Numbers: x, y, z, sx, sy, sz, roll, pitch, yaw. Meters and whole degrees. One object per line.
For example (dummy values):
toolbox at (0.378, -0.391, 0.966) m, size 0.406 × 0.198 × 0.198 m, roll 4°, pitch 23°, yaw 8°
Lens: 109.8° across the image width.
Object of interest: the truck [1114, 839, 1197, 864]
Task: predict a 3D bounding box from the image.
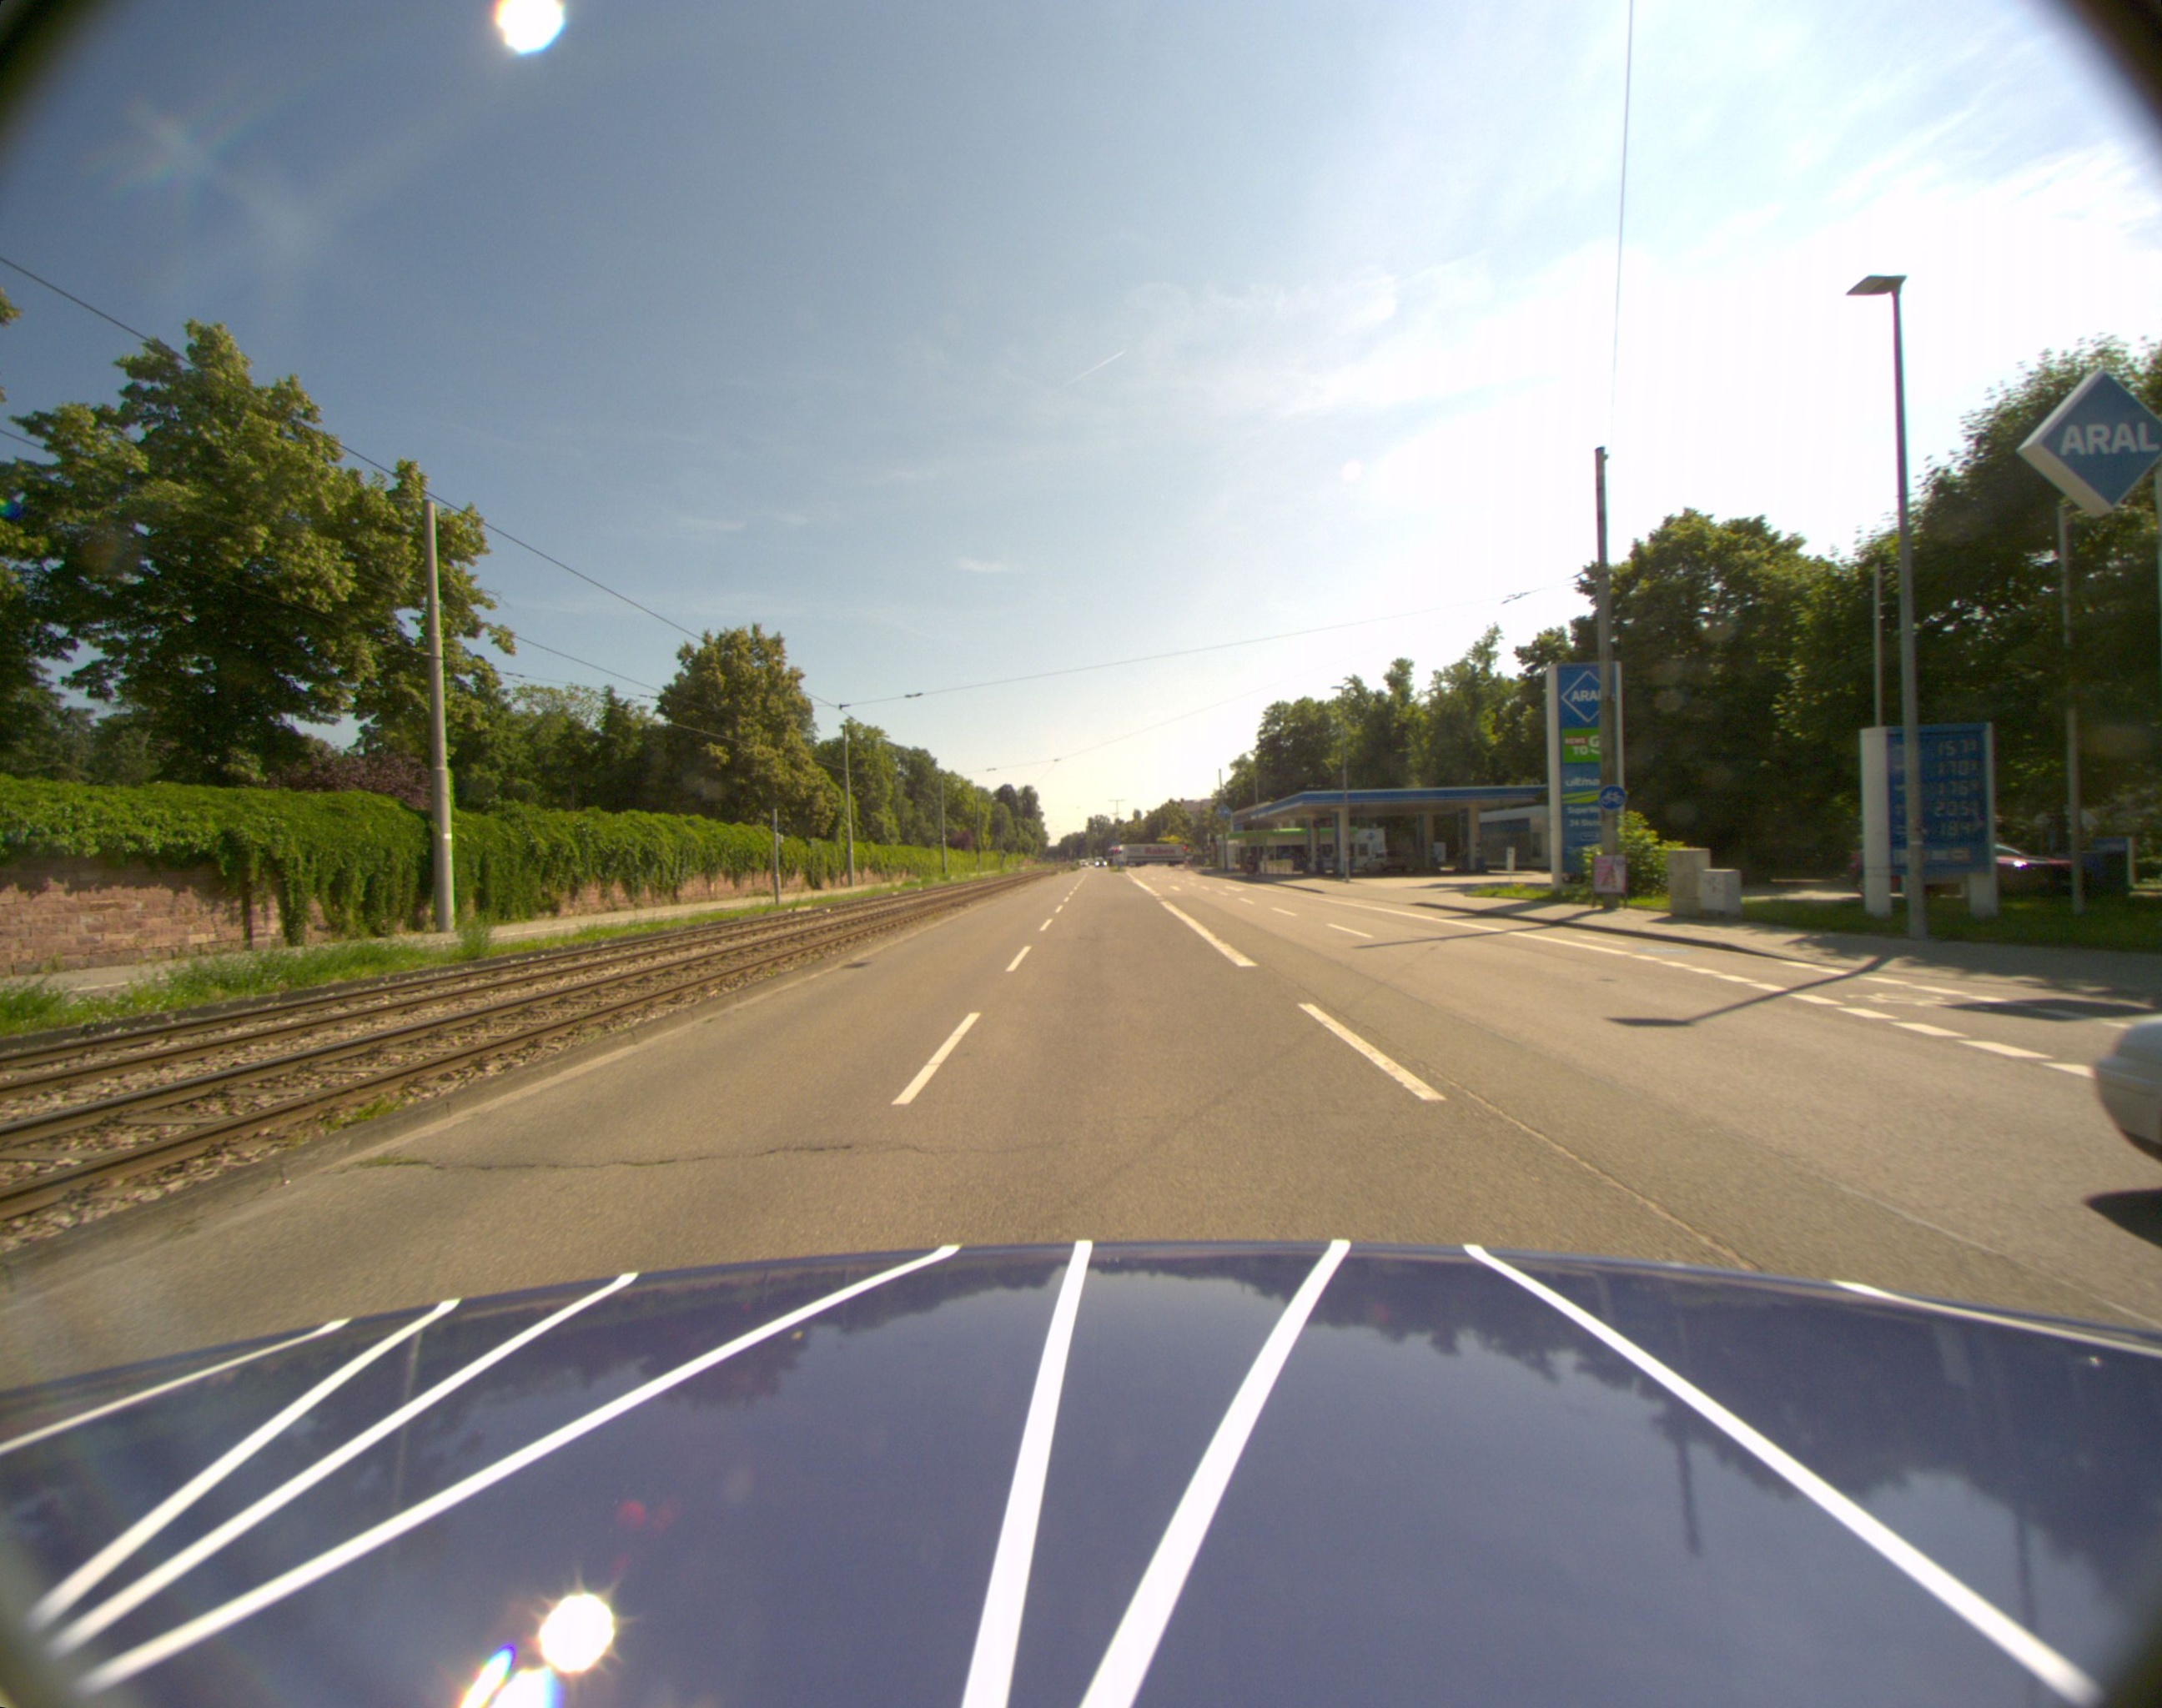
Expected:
truck at (13.108, -0.477, 132.841) m, size 14.313 × 3.983 × 2.851 m, roll -1°, pitch 0°, yaw -17°

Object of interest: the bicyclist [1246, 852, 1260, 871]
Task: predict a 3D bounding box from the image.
bicyclist at (13.008, 0.583, 57.433) m, size 0.849 × 1.427 × 0.833 m, roll -3°, pitch -1°, yaw 2°

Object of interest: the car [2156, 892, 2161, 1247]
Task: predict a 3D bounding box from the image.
car at (4.958, 0.861, 0.824) m, size 1.662 × 1.412 × 4.311 m, roll 0°, pitch 0°, yaw 5°

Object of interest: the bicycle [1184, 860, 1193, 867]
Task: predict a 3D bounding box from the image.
bicycle at (15.897, 1.430, 111.961) m, size 0.753 × 1.051 × 2.074 m, roll -2°, pitch 0°, yaw -7°

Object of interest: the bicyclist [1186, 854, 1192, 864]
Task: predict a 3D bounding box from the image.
bicyclist at (15.858, 0.795, 111.782) m, size 0.710 × 1.411 × 0.739 m, roll -2°, pitch -2°, yaw -7°

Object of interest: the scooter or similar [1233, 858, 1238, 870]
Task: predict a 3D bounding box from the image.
scooter or similar at (16.202, 1.055, 79.780) m, size 0.442 × 1.230 × 1.347 m, roll -2°, pitch 0°, yaw 11°

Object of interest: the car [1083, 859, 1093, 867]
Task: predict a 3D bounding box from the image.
car at (1.385, 1.816, 159.812) m, size 1.931 × 1.593 × 4.468 m, roll -3°, pitch 0°, yaw -1°

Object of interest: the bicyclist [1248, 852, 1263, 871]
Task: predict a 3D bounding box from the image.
bicyclist at (12.979, 0.565, 56.545) m, size 0.849 × 1.427 × 0.833 m, roll -2°, pitch -1°, yaw 1°

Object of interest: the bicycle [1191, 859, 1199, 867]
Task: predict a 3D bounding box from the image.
bicycle at (17.021, 1.334, 113.709) m, size 0.939 × 1.168 × 2.212 m, roll -2°, pitch 0°, yaw 3°

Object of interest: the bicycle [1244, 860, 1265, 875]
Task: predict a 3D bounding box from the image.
bicycle at (12.920, 1.007, 56.755) m, size 0.827 × 1.088 × 2.772 m, roll -1°, pitch 0°, yaw -2°

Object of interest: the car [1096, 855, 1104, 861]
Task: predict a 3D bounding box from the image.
car at (5.212, 1.019, 213.129) m, size 1.931 × 1.593 × 4.468 m, roll -3°, pitch 0°, yaw -2°

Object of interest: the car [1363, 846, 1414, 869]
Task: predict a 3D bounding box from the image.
car at (25.054, 0.303, 62.151) m, size 1.848 × 1.771 × 5.965 m, roll -2°, pitch 0°, yaw 1°

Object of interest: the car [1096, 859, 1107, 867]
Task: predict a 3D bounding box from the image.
car at (4.057, 1.723, 149.110) m, size 1.755 × 1.573 × 4.504 m, roll -2°, pitch -1°, yaw -3°

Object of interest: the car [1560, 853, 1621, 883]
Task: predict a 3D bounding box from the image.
car at (24.579, 0.635, 36.798) m, size 1.801 × 1.338 × 4.251 m, roll -2°, pitch 0°, yaw 25°

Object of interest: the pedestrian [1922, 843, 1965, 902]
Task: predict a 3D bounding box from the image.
pedestrian at (21.965, 0.468, 19.347) m, size 0.500 × 1.472 × 0.500 m, roll -2°, pitch 0°, yaw 2°

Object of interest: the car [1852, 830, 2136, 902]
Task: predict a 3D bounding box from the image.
car at (22.745, 0.328, 19.286) m, size 1.804 × 1.560 × 4.519 m, roll -2°, pitch -2°, yaw 2°

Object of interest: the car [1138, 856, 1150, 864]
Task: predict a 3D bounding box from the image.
car at (13.066, 1.260, 157.613) m, size 1.755 × 1.501 × 4.398 m, roll -2°, pitch -2°, yaw -3°
